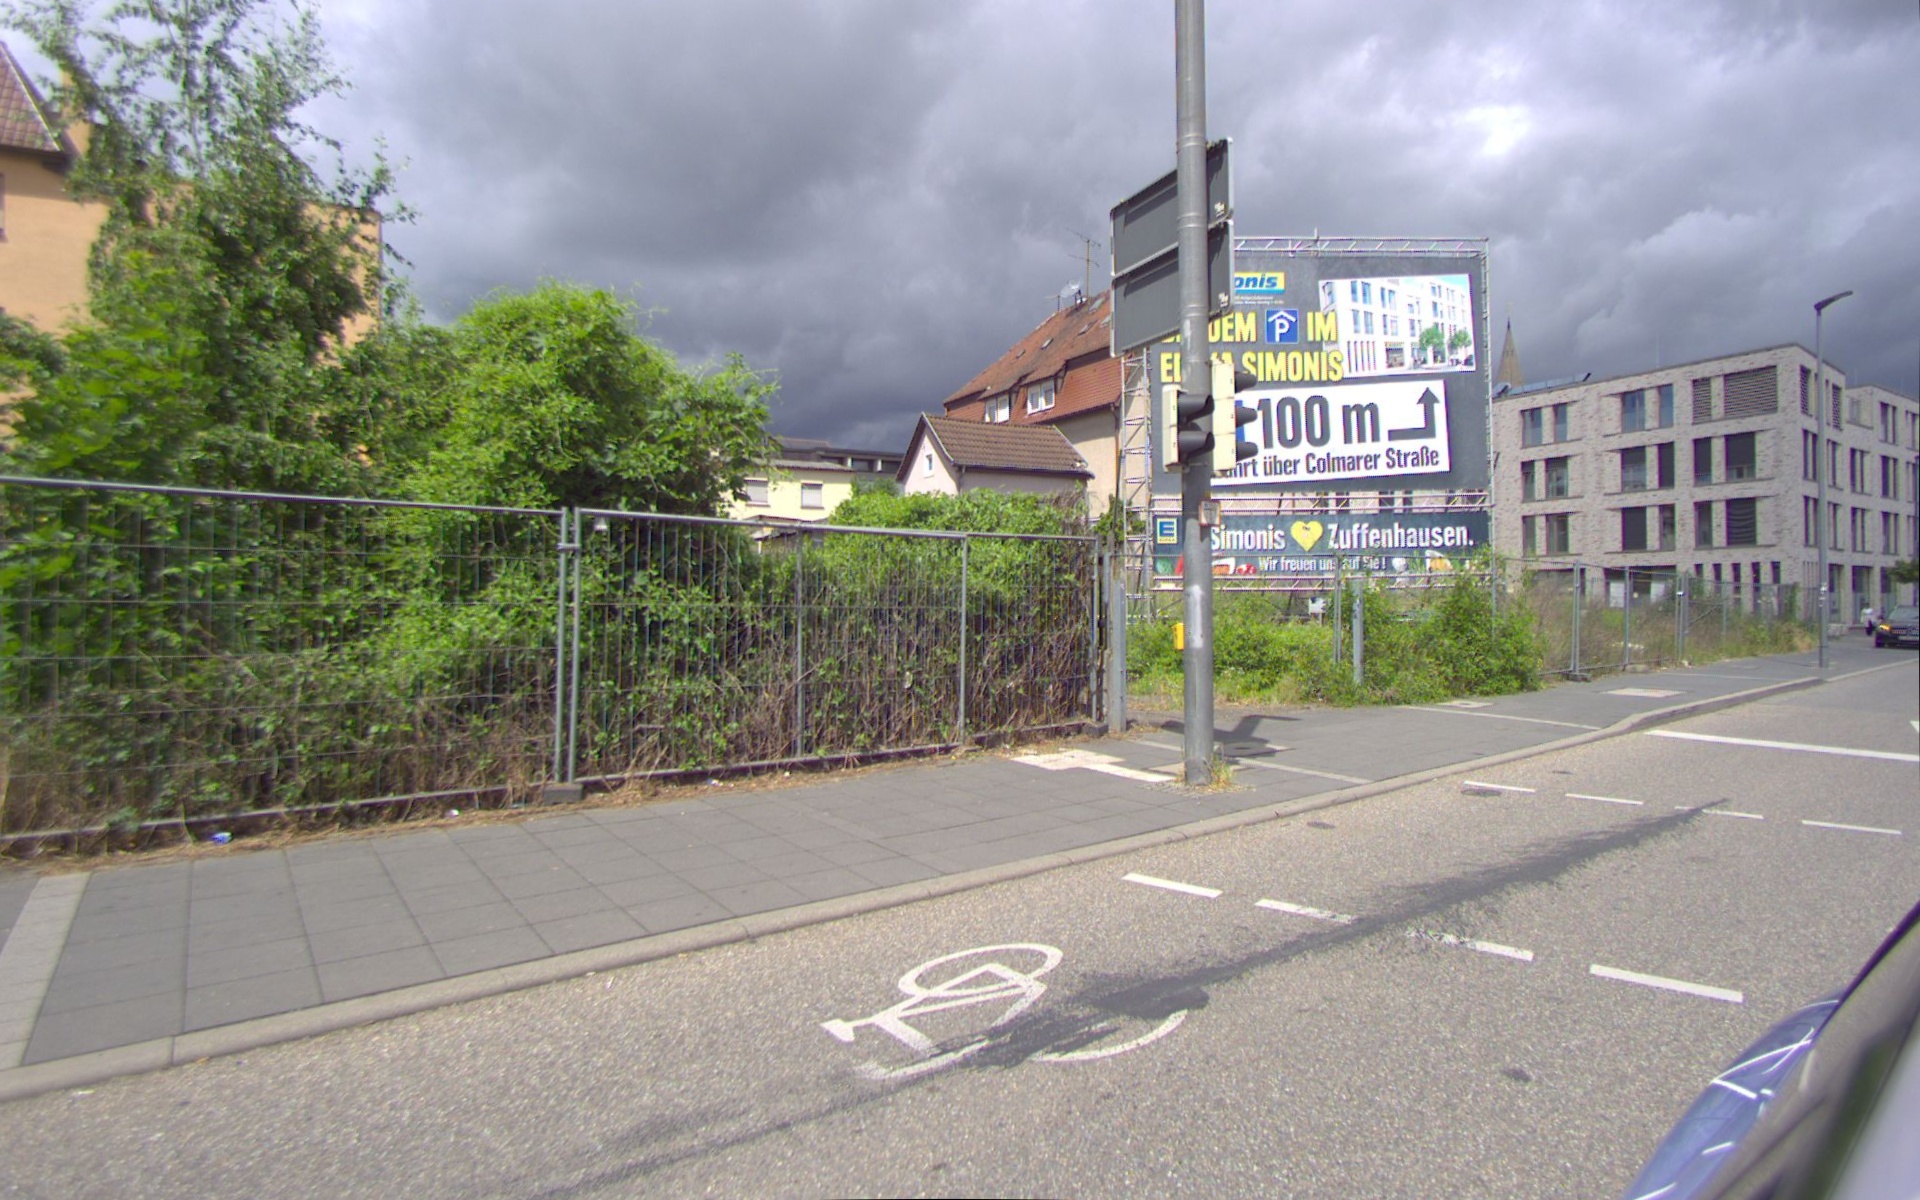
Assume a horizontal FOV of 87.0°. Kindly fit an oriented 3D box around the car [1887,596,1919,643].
[{"bbox_3d":[32.564,0.641,33.896,3.726,1.441,1.678,-1,2,-39],"label":"car"}]

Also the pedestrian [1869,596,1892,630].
[{"bbox_3d":[41.624,0.577,45.751,0.769,1.531,0.673,1,0,-41],"label":"pedestrian"}]
